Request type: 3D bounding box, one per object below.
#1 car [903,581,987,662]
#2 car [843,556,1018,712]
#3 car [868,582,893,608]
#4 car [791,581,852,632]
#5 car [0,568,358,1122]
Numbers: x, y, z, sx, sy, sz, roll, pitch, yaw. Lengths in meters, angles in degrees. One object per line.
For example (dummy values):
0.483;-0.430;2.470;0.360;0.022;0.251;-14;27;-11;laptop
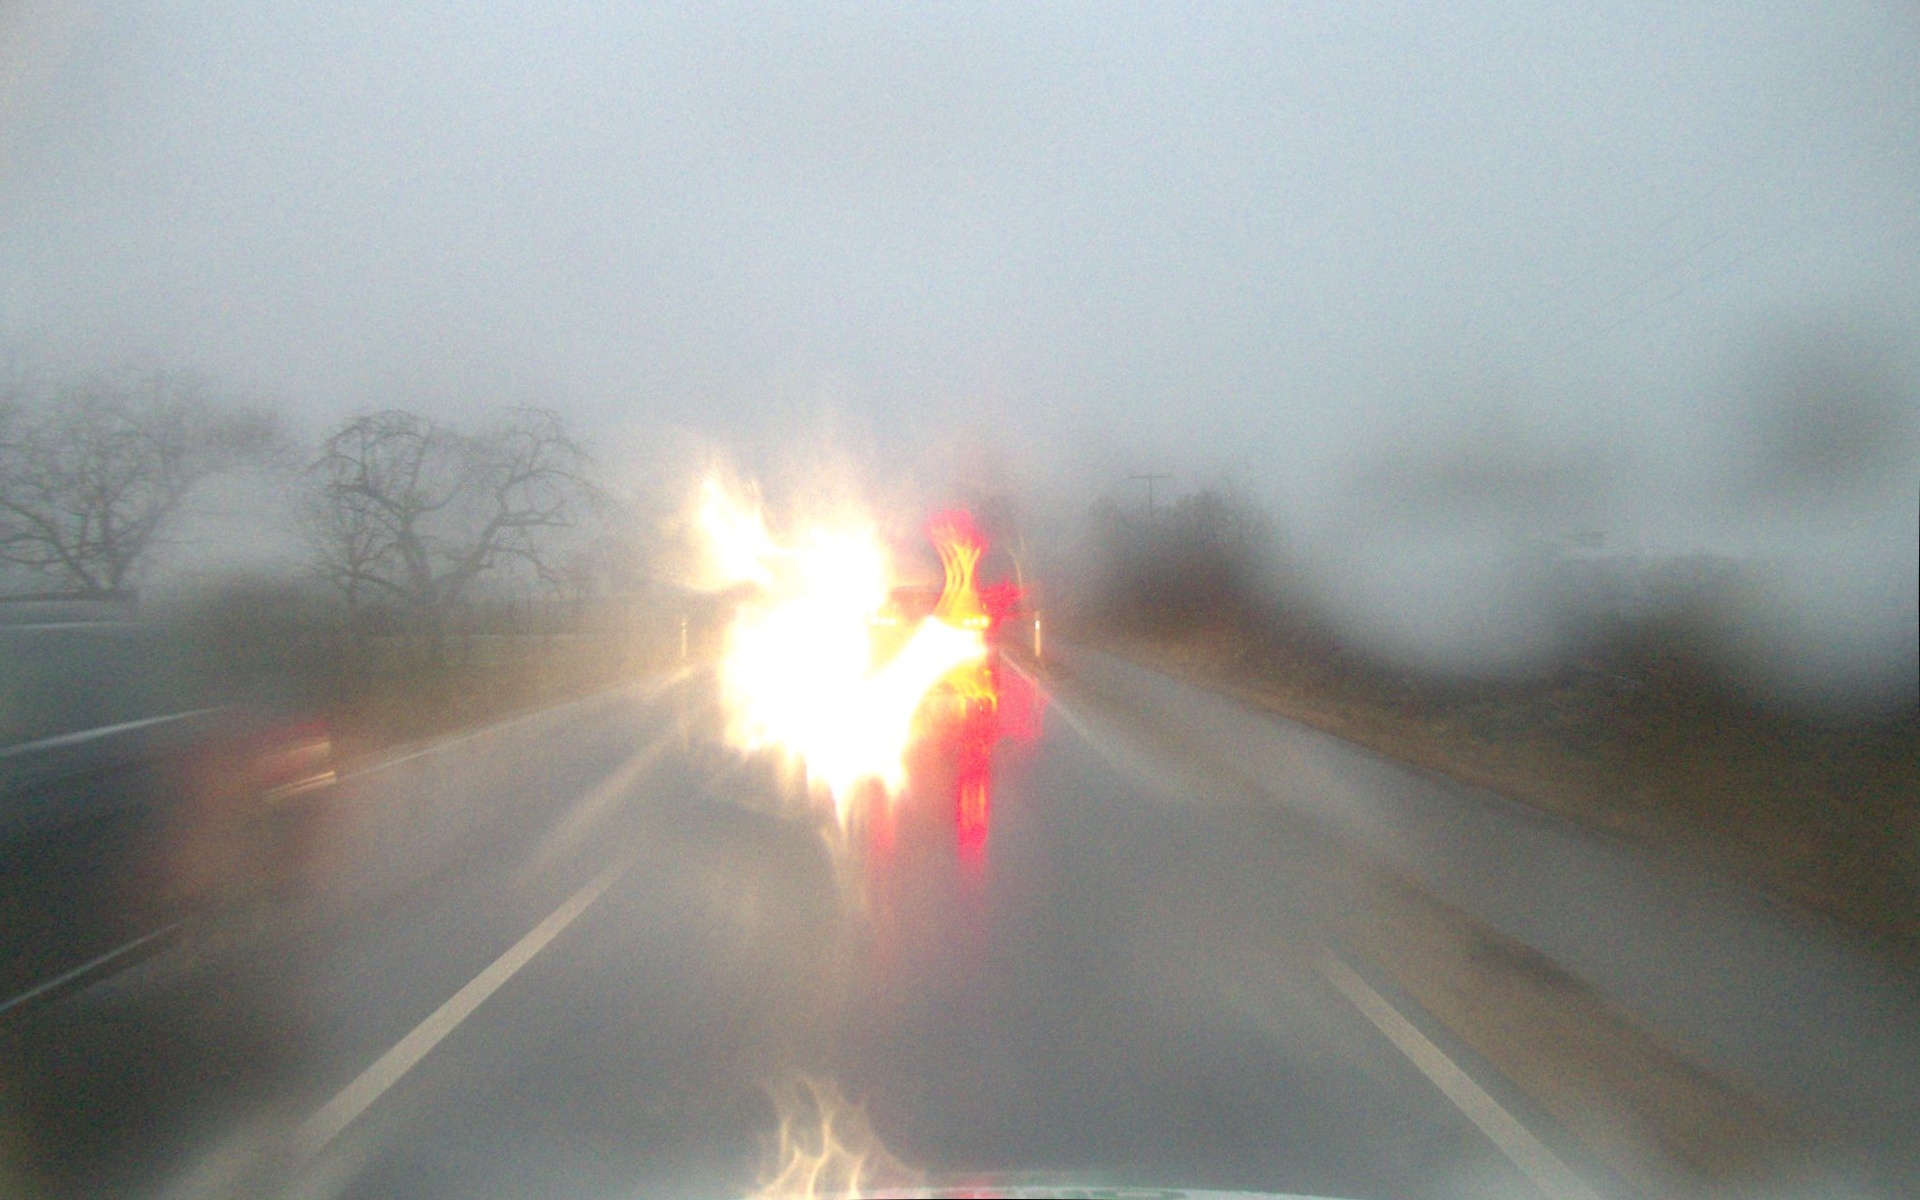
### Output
-0.371;0.502;40.708;1.953;1.881;3.999;1;0;-1;car
-0.380;0.386;22.211;2.077;1.851;4.979;0;0;-1;car
-6.061;-0.401;126.358;1.787;1.838;4.493;-2;0;-2;car
-4.594;0.198;55.375;1.726;1.582;3.999;-1;1;-1;car
-3.656;0.707;5.504;1.818;1.543;4.513;-2;1;-3;car
